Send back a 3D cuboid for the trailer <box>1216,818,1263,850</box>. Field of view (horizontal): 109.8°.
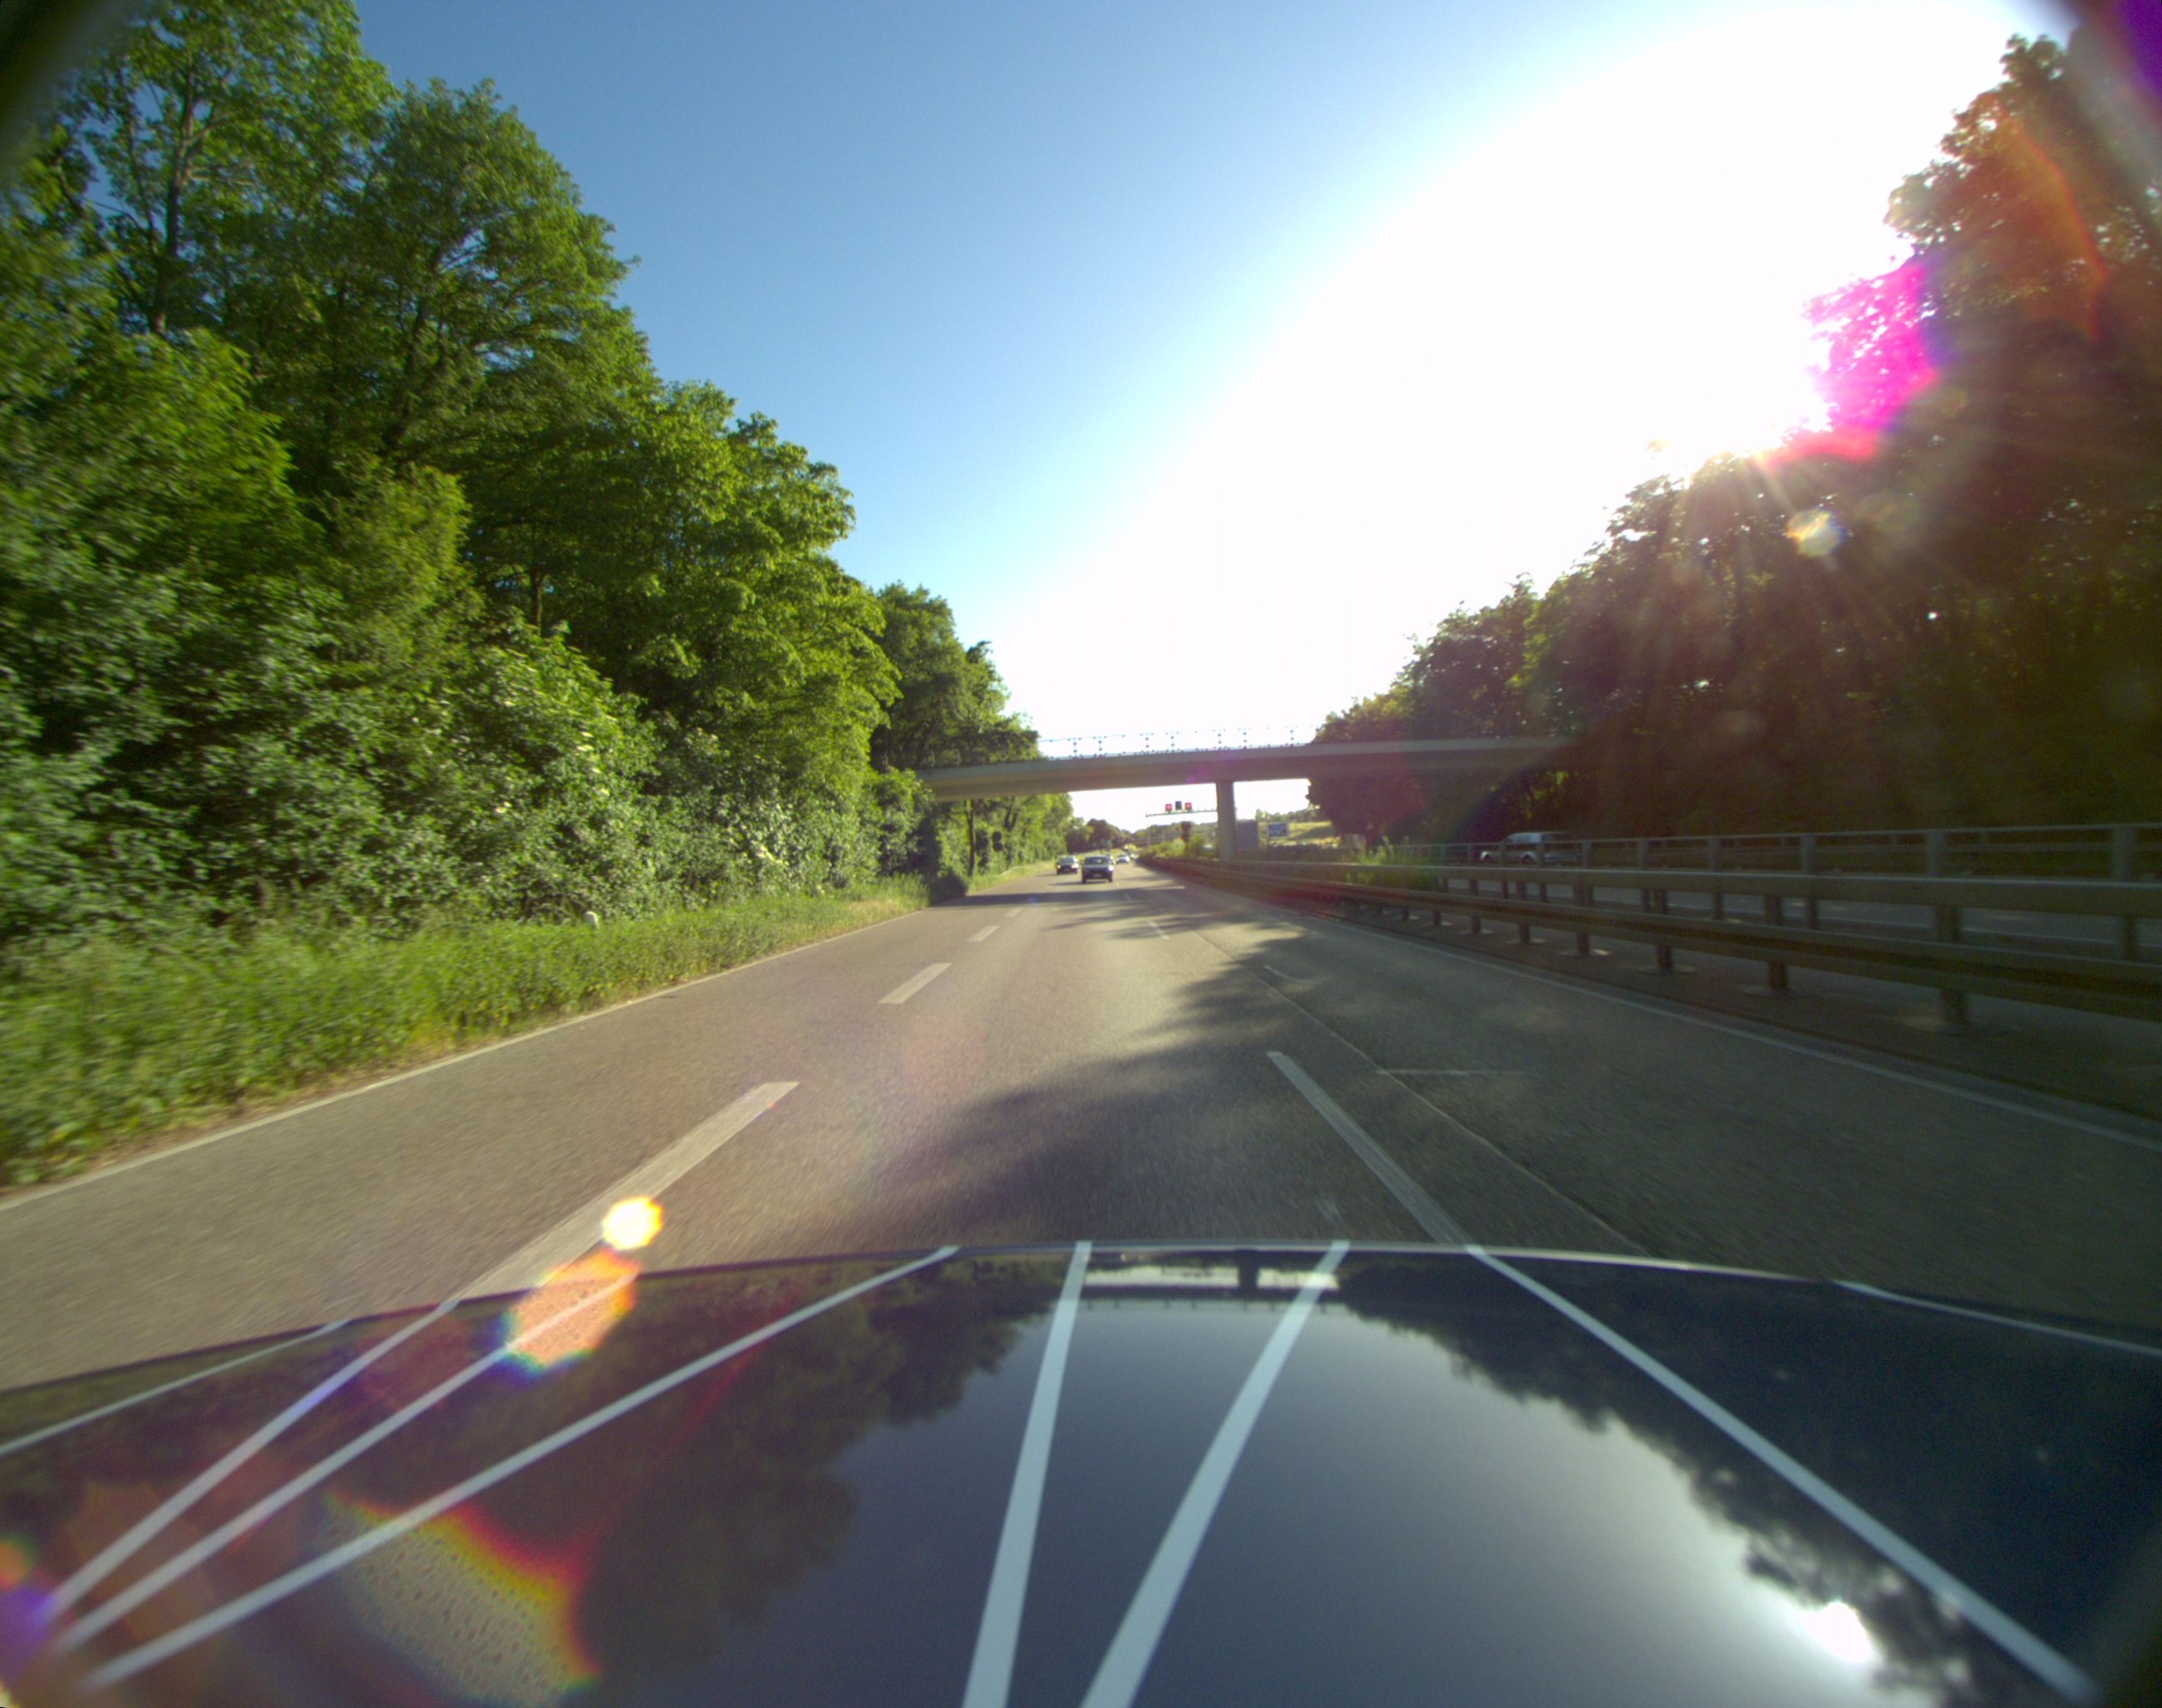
[{"bbox_3d":[17.185,-2.094,83.305,2.937,3.150,11.916,-2,1,2],"label":"trailer"}]

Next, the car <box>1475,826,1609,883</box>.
[{"bbox_3d":[15.783,-0.017,26.335,1.998,1.740,4.343,-2,1,1],"label":"car"}]

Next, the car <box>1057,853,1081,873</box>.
[{"bbox_3d":[-0.991,0.776,65.087,1.712,1.565,3.422,-2,1,3],"label":"car"}]

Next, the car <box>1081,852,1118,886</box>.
[{"bbox_3d":[1.069,0.774,41.542,1.712,1.565,3.423,-5,1,4],"label":"car"}]

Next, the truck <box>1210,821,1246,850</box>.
[{"bbox_3d":[17.419,-2.190,90.377,2.937,3.150,7.083,-2,1,2],"label":"truck"}]

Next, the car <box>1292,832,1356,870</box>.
[{"bbox_3d":[12.237,-0.141,38.459,1.902,1.706,4.110,-3,0,1],"label":"car"}]

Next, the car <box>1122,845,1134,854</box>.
[{"bbox_3d":[9.170,-0.887,147.091,1.998,1.740,4.374,-2,1,6],"label":"car"}]

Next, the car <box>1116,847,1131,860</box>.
[{"bbox_3d":[6.148,-0.093,110.392,1.998,1.793,4.000,-2,1,2],"label":"car"}]

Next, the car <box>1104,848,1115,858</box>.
[{"bbox_3d":[5.587,-0.276,146.037,1.998,1.740,4.373,-2,1,3],"label":"car"}]

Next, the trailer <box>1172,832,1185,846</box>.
[{"bbox_3d":[28.516,-4.386,222.538,3.029,3.965,14.028,-2,1,4],"label":"trailer"}]
